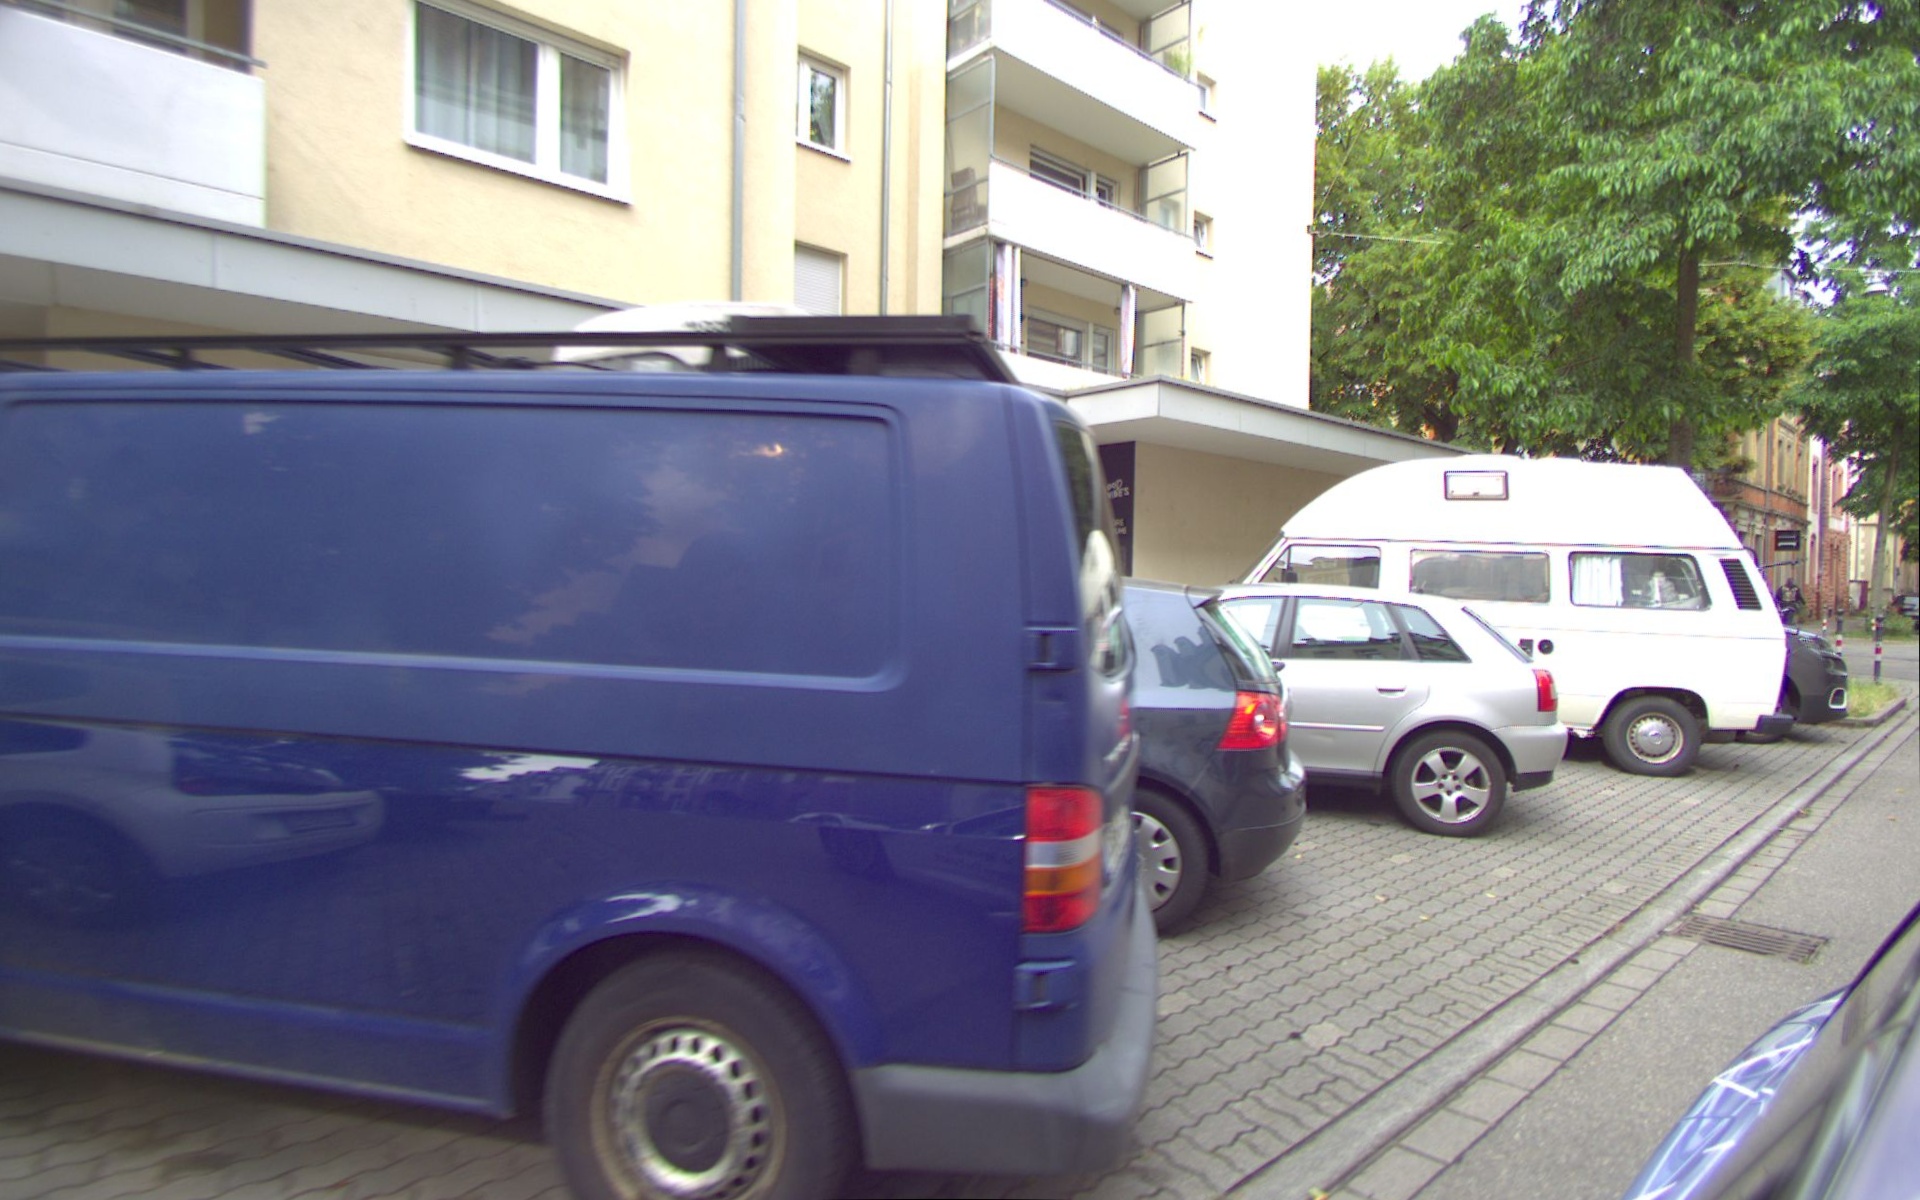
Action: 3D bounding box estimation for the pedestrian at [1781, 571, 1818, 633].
[{"bbox_3d":[25.013,0.055,30.152,0.500,1.819,0.781,0,0,-39],"label":"pedestrian"}]

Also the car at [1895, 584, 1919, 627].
[{"bbox_3d":[35.636,0.201,36.931,4.402,1.504,1.767,0,3,-42],"label":"car"}]

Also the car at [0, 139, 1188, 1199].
[{"bbox_3d":[-1.738,0.149,3.260,4.632,2.223,2.061,3,2,11],"label":"car"}]

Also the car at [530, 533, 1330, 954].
[{"bbox_3d":[-0.120,0.506,5.238,3.617,1.498,1.681,3,2,16],"label":"car"}]

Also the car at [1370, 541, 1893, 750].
[{"bbox_3d":[6.744,0.339,10.824,4.299,1.877,1.896,1,1,24],"label":"car"}]

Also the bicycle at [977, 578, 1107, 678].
[{"bbox_3d":[0.998,0.299,12.126,1.670,1.103,0.486,-1,4,-40],"label":"bicycle"}]

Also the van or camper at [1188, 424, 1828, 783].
[{"bbox_3d":[4.416,-0.038,8.991,4.533,2.628,1.901,1,1,17],"label":"van or camper"}]

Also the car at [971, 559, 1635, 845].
[{"bbox_3d":[2.120,0.537,6.985,3.761,1.435,1.718,3,2,14],"label":"car"}]

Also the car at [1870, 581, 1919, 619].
[{"bbox_3d":[40.788,0.075,41.752,4.382,1.444,1.751,3,3,15],"label":"car"}]

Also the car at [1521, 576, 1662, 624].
[{"bbox_3d":[21.848,-0.056,35.125,1.629,1.559,3.836,-1,2,-34],"label":"car"}]

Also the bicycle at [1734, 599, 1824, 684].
[{"bbox_3d":[11.805,0.562,14.646,0.602,1.108,1.770,1,1,26],"label":"bicycle"}]
